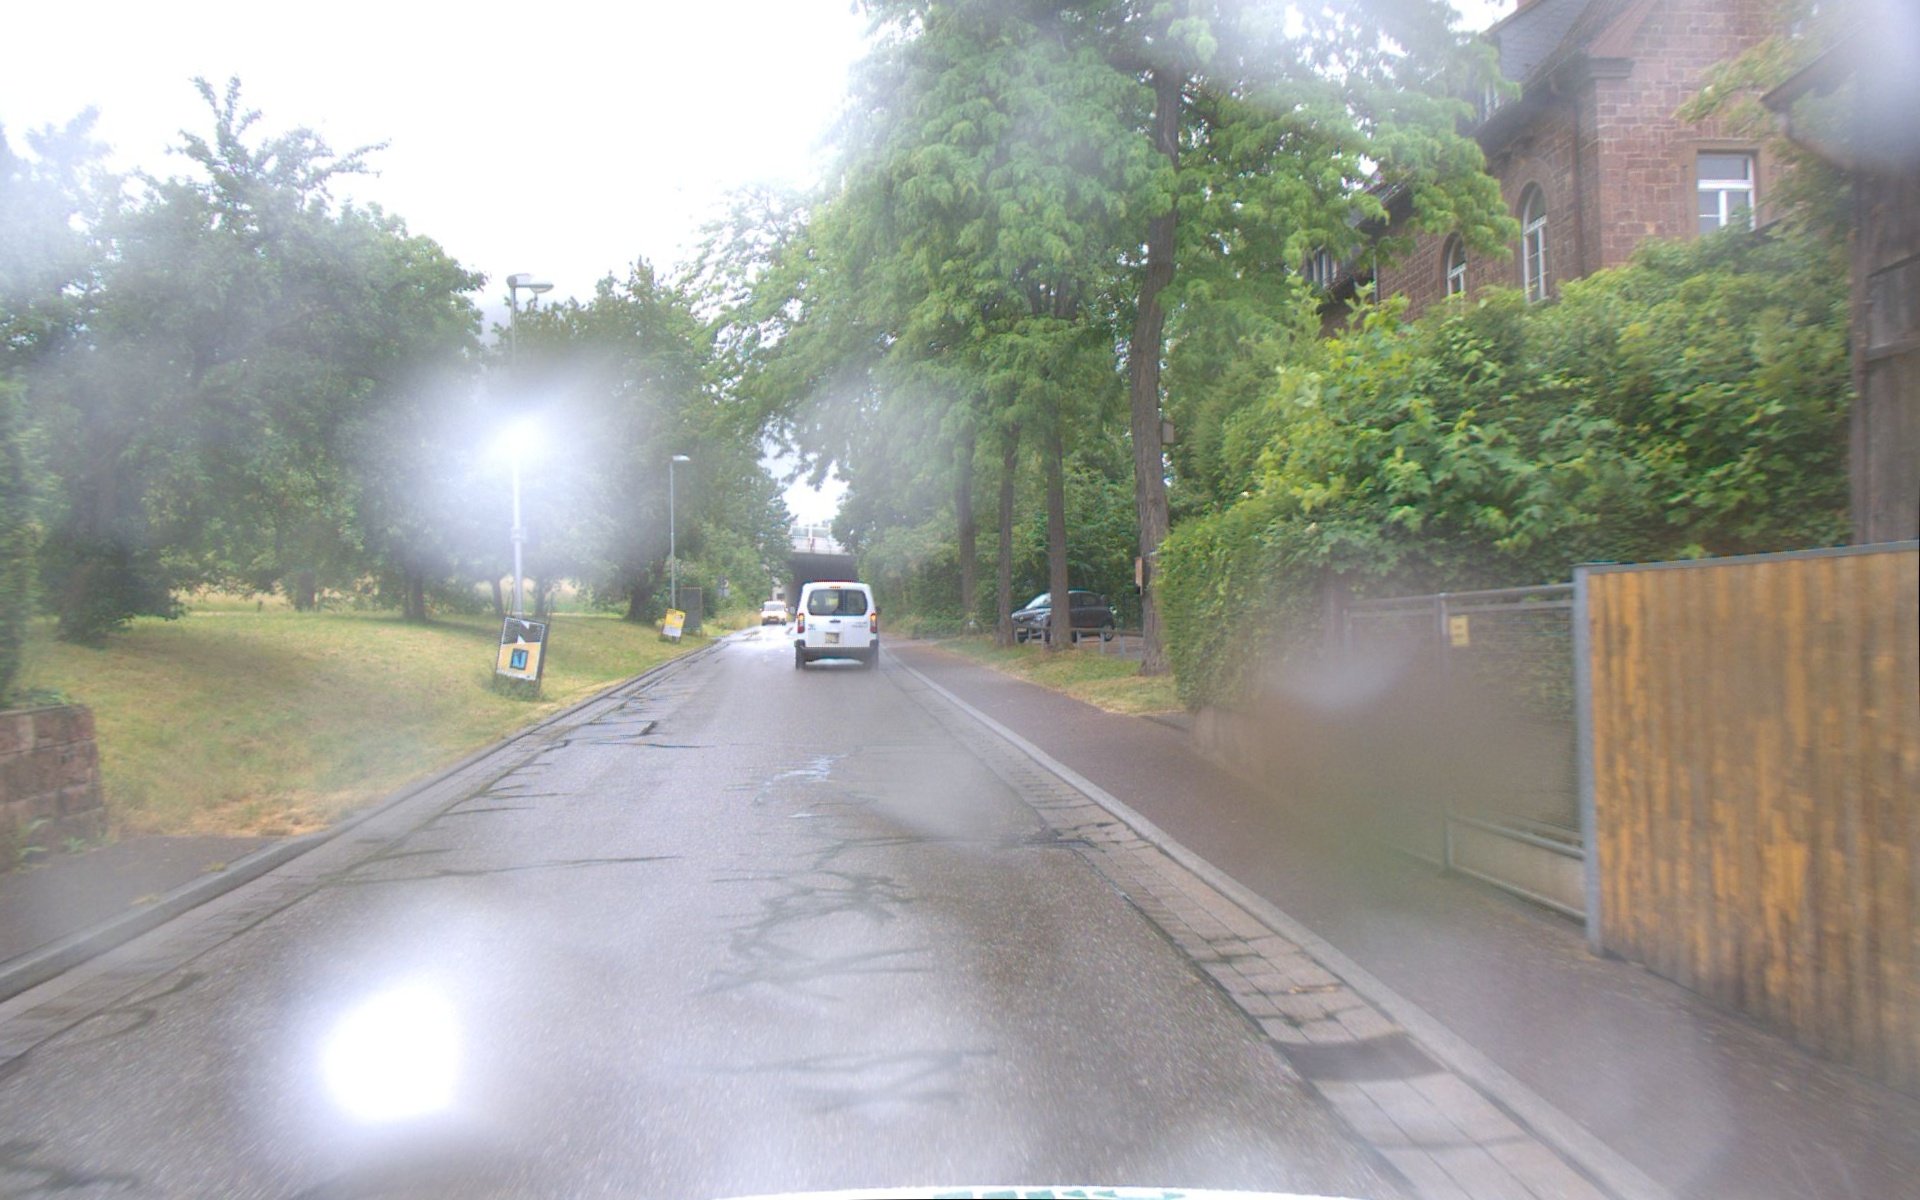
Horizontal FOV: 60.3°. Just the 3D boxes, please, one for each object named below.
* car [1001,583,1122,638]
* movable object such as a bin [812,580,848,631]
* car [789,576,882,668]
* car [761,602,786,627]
[{"bbox_3d":[3.101,0.305,50.151,3.582,1.578,1.597,-1,-1,-42],"label":"car"},{"bbox_3d":[-6.763,0.318,86.247,1.726,2.592,4.236,0,-1,-3],"label":"movable object such as a bin"},{"bbox_3d":[-2.709,0.445,36.082,1.859,1.838,3.996,-2,0,-4],"label":"car"},{"bbox_3d":[-14.058,1.079,124.702,1.788,1.864,4.301,0,-1,-6],"label":"car"}]
